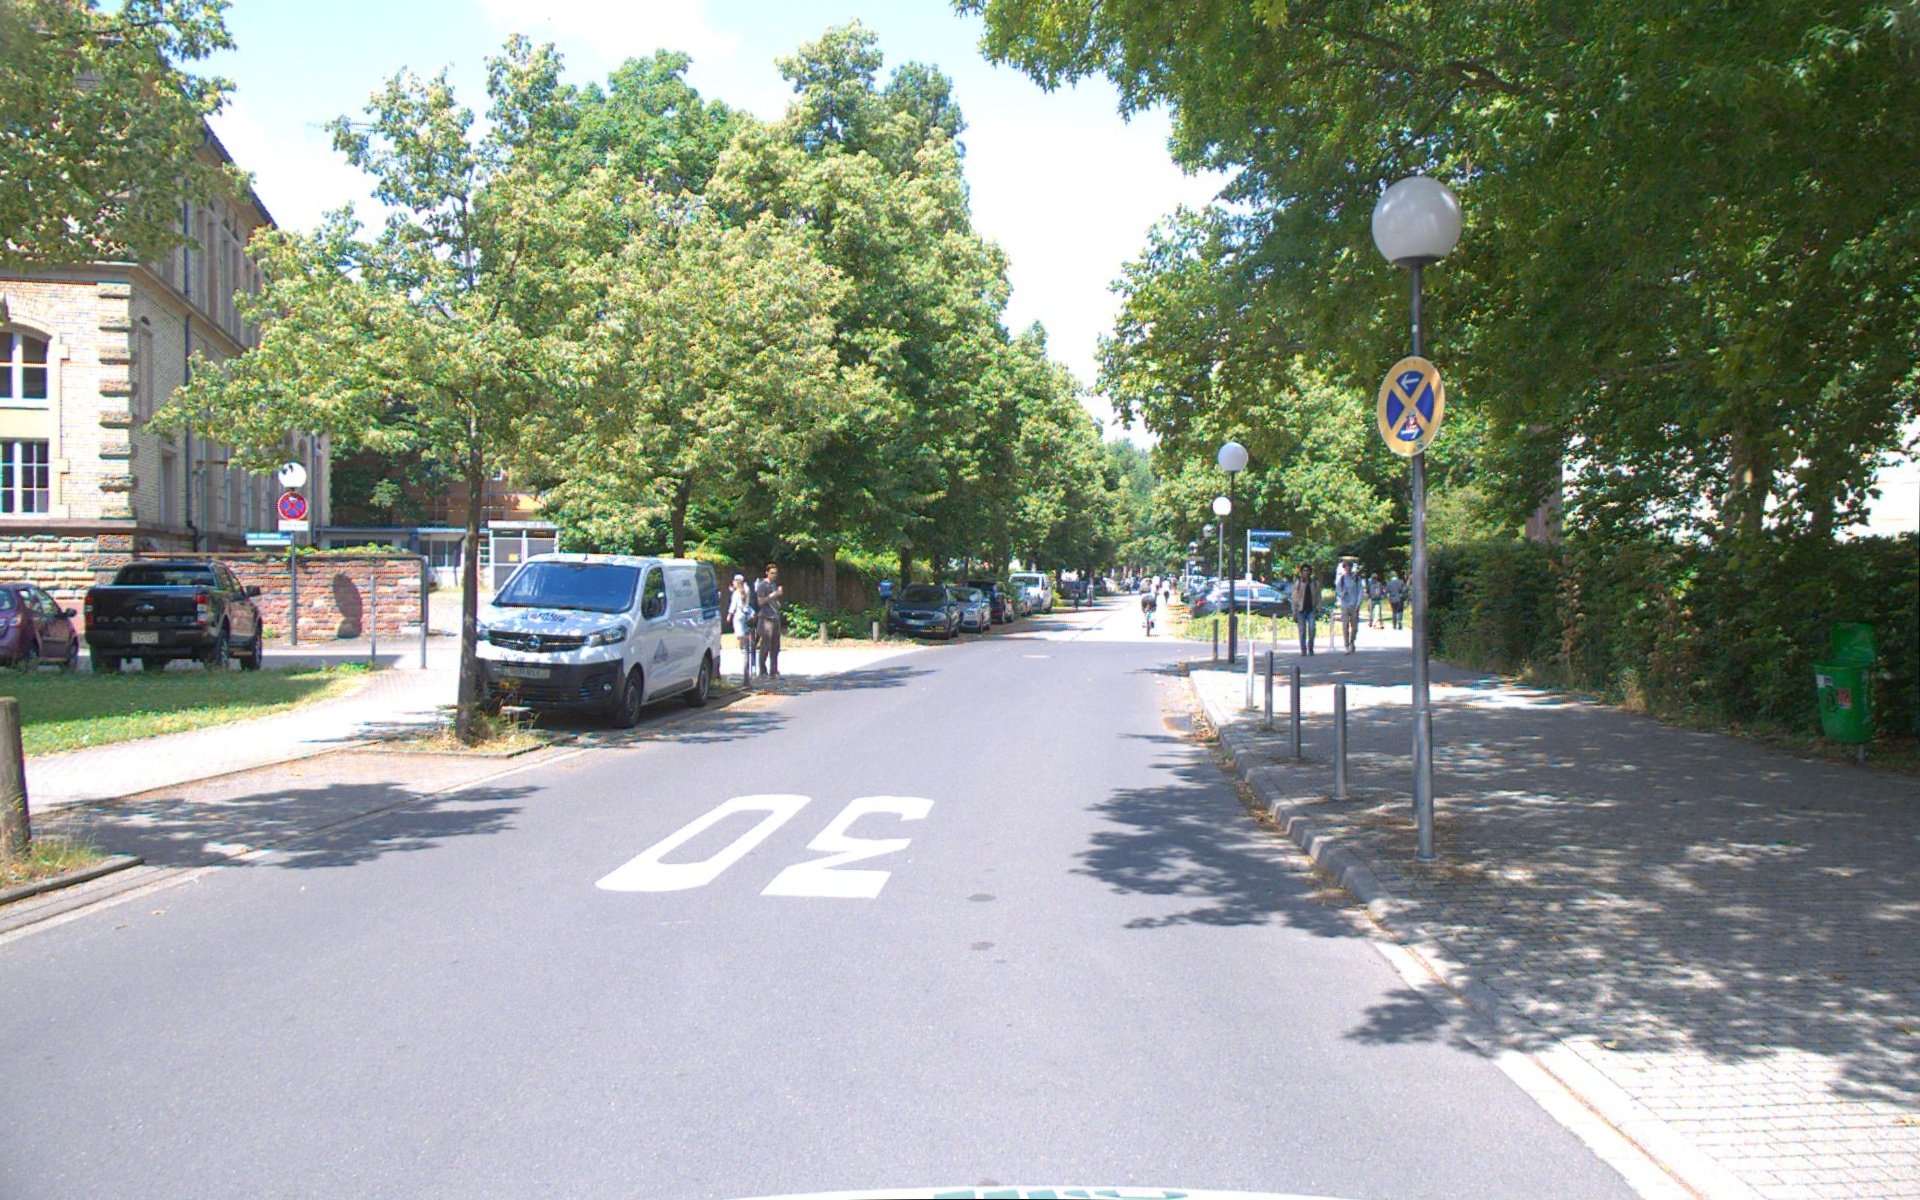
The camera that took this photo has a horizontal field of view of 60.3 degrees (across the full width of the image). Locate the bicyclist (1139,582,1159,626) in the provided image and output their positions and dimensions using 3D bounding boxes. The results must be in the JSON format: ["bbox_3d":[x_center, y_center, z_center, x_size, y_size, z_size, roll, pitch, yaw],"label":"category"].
[{"bbox_3d":[5.701,0.113,50.006,0.596,1.318,0.611,0,0,6],"label":"bicyclist"}]

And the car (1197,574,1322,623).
[{"bbox_3d":[10.335,-0.051,57.313,4.166,1.616,1.812,-1,0,7],"label":"car"}]

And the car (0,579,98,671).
[{"bbox_3d":[-14.965,0.346,25.966,1.787,1.347,3.752,0,1,-16],"label":"car"}]

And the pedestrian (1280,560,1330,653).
[{"bbox_3d":[6.880,0.124,32.952,0.804,1.785,0.841,-3,0,17],"label":"pedestrian"}]

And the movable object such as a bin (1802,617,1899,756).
[{"bbox_3d":[7.163,0.684,13.316,0.480,1.091,0.504,0,0,-8],"label":"movable object such as a bin"}]

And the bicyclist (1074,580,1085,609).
[{"bbox_3d":[6.349,-0.310,88.010,0.551,1.524,0.828,0,0,6],"label":"bicyclist"}]

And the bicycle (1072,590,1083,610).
[{"bbox_3d":[6.257,0.001,87.959,0.565,1.018,1.424,0,0,6],"label":"bicycle"}]

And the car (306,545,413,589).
[{"bbox_3d":[-22.984,-1.251,63.423,3.795,1.650,1.747,0,0,-19],"label":"car"}]

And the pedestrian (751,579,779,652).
[{"bbox_3d":[-4.330,0.331,36.727,0.488,1.613,0.490,0,0,-26],"label":"pedestrian"}]

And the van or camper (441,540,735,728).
[{"bbox_3d":[-4.328,0.331,20.294,1.912,1.956,5.424,1,1,5],"label":"van or camper"}]

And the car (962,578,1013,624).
[{"bbox_3d":[1.087,0.021,63.006,1.581,1.708,4.003,0,1,6],"label":"car"}]

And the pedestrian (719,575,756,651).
[{"bbox_3d":[-4.990,0.290,37.111,0.623,1.692,0.595,0,0,-39],"label":"pedestrian"}]

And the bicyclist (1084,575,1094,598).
[{"bbox_3d":[7.647,-0.796,97.834,0.595,1.318,0.611,0,0,6],"label":"bicyclist"}]

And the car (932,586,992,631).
[{"bbox_3d":[0.110,0.245,54.368,1.581,1.412,4.003,0,1,6],"label":"car"}]

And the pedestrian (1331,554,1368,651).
[{"bbox_3d":[7.742,0.039,32.874,0.657,1.905,0.793,0,0,9],"label":"pedestrian"}]

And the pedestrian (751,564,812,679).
[{"bbox_3d":[-2.976,0.348,27.579,0.709,1.889,0.791,0,0,23],"label":"pedestrian"}]

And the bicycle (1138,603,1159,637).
[{"bbox_3d":[5.701,0.598,50.055,0.601,1.018,1.424,0,0,6],"label":"bicycle"}]

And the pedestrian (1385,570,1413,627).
[{"bbox_3d":[13.802,-0.057,52.009,0.803,1.786,0.629,0,0,12],"label":"pedestrian"}]

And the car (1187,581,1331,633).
[{"bbox_3d":[9.435,0.218,52.478,4.390,1.552,1.812,-1,0,7],"label":"car"}]

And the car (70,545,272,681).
[{"bbox_3d":[-12.491,0.158,26.551,2.140,1.959,5.162,0,1,-17],"label":"car"}]

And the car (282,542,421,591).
[{"bbox_3d":[-19.957,-1.069,54.311,4.049,1.543,1.737,0,1,-32],"label":"car"}]

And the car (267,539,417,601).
[{"bbox_3d":[-19.308,-0.910,51.680,4.117,1.855,1.978,0,1,-32],"label":"car"}]

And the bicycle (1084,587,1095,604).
[{"bbox_3d":[7.636,-0.266,97.744,0.601,1.018,1.424,0,0,6],"label":"bicycle"}]

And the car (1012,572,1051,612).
[{"bbox_3d":[3.393,-0.392,78.168,1.581,1.847,4.003,0,1,6],"label":"car"}]

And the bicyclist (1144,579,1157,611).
[{"bbox_3d":[7.772,-0.200,67.595,0.511,1.318,0.611,0,0,6],"label":"bicyclist"}]

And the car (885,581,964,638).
[{"bbox_3d":[-0.954,0.235,46.796,1.722,1.548,4.114,0,1,6],"label":"car"}]

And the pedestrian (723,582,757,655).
[{"bbox_3d":[-4.762,0.398,35.815,0.579,1.553,0.488,0,0,-34],"label":"pedestrian"}]

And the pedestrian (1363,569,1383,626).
[{"bbox_3d":[13.083,-0.083,52.366,0.588,1.786,0.629,0,0,13],"label":"pedestrian"}]
